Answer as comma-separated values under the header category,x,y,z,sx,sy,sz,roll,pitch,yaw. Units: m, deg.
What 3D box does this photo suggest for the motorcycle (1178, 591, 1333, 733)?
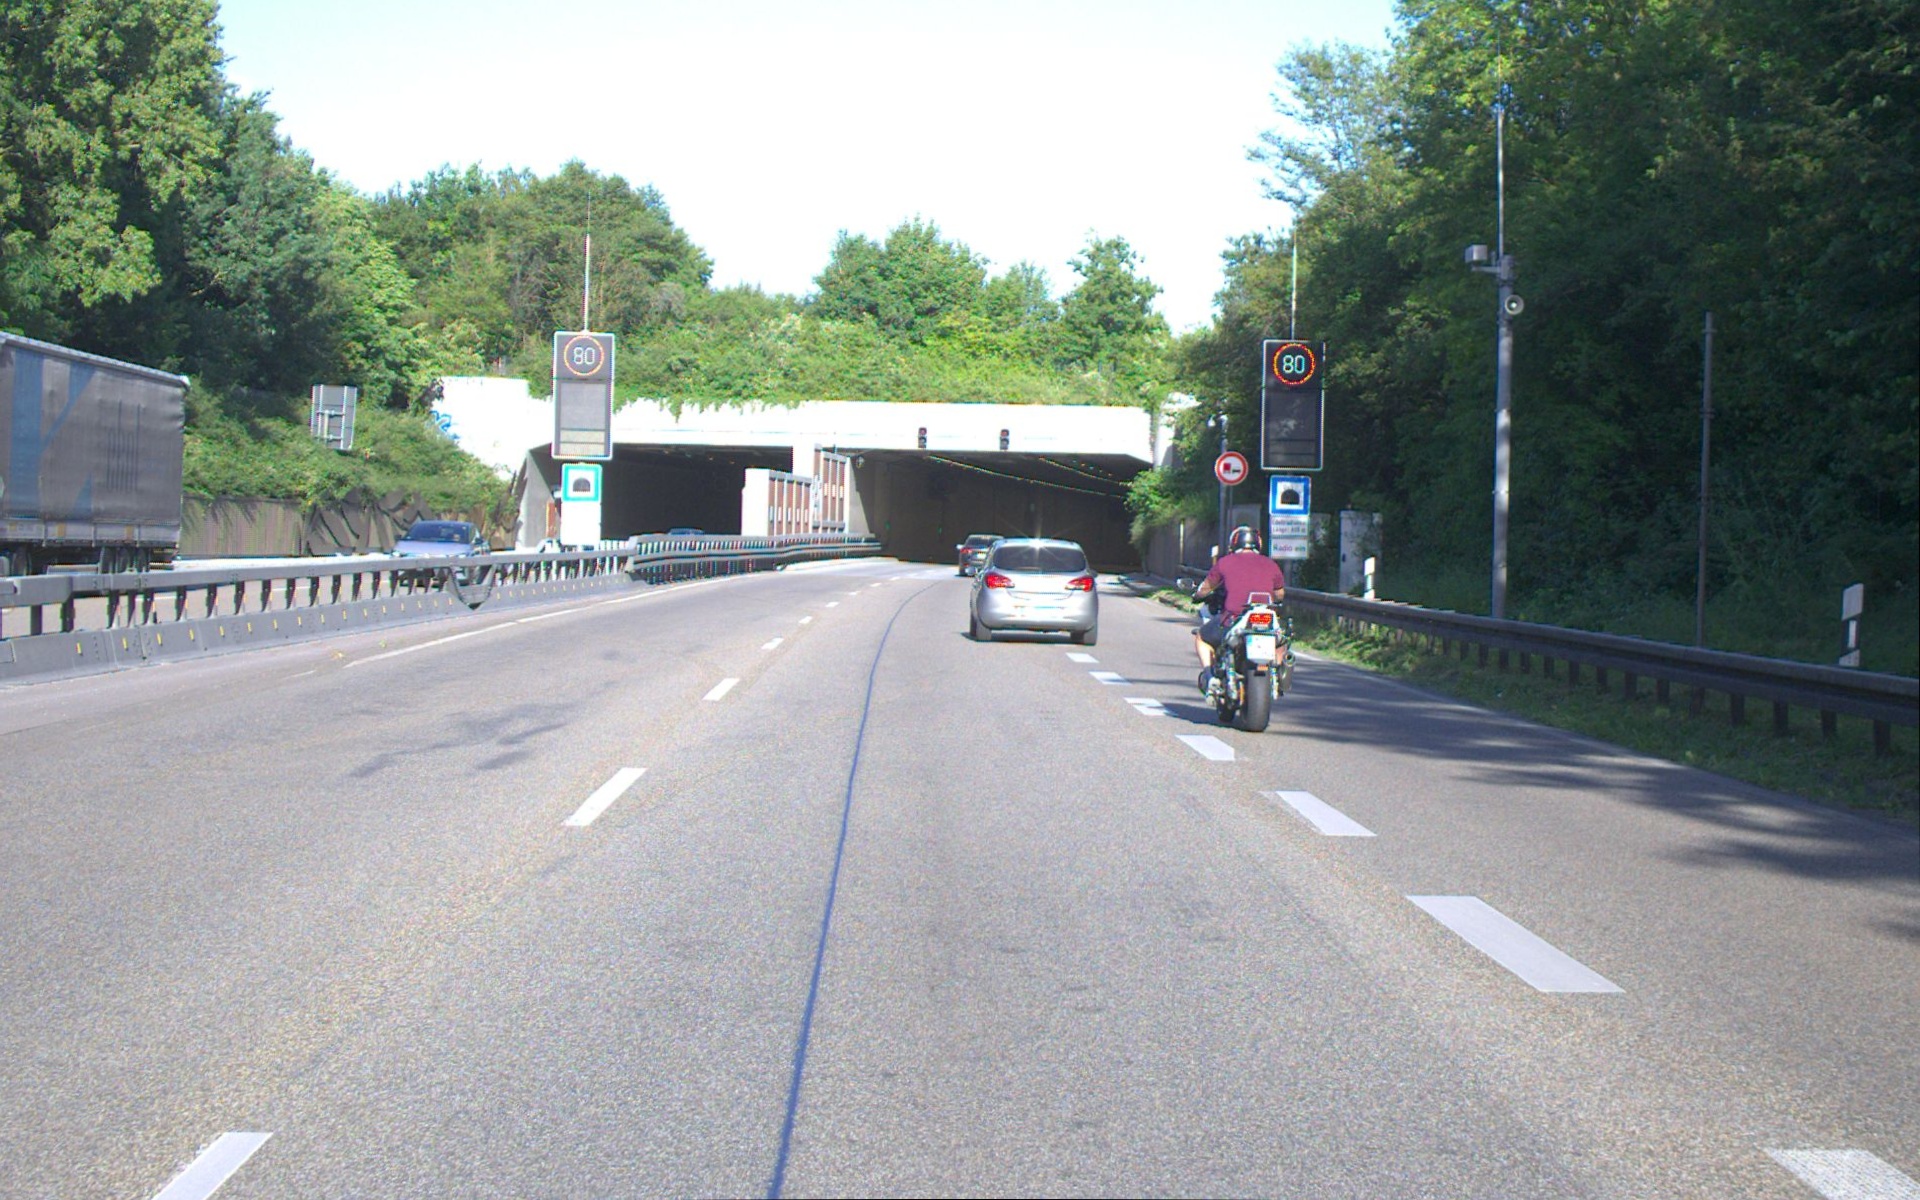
category,x,y,z,sx,sy,sz,roll,pitch,yaw
motorcycle,2.320,0.467,27.324,0.858,0.988,2.729,3,1,-2

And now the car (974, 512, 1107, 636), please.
category,x,y,z,sx,sy,sz,roll,pitch,yaw
car,1.113,-0.406,49.048,1.667,1.546,4.001,3,2,-1

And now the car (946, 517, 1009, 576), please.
category,x,y,z,sx,sy,sz,roll,pitch,yaw
car,0.582,-1.883,119.443,1.993,1.919,4.001,2,2,-2

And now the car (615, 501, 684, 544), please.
category,x,y,z,sx,sy,sz,roll,pitch,yaw
car,-11.510,-2.883,127.757,1.994,1.481,4.200,2,2,2

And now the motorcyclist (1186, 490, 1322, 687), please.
category,x,y,z,sx,sy,sz,roll,pitch,yaw
motorcyclist,2.343,-0.105,27.516,0.883,1.496,1.063,3,2,-2

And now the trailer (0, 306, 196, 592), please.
category,x,y,z,sx,sy,sz,roll,pitch,yaw
trailer,-15.786,-2.567,57.966,2.747,4.265,14.087,3,2,-1

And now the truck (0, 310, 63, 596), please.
category,x,y,z,sx,sy,sz,roll,pitch,yaw
truck,-15.629,-2.257,51.285,2.735,4.246,6.388,3,2,-1

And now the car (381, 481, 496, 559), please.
category,x,y,z,sx,sy,sz,roll,pitch,yaw
car,-12.159,-1.893,80.432,1.993,1.652,4.939,3,2,-2
